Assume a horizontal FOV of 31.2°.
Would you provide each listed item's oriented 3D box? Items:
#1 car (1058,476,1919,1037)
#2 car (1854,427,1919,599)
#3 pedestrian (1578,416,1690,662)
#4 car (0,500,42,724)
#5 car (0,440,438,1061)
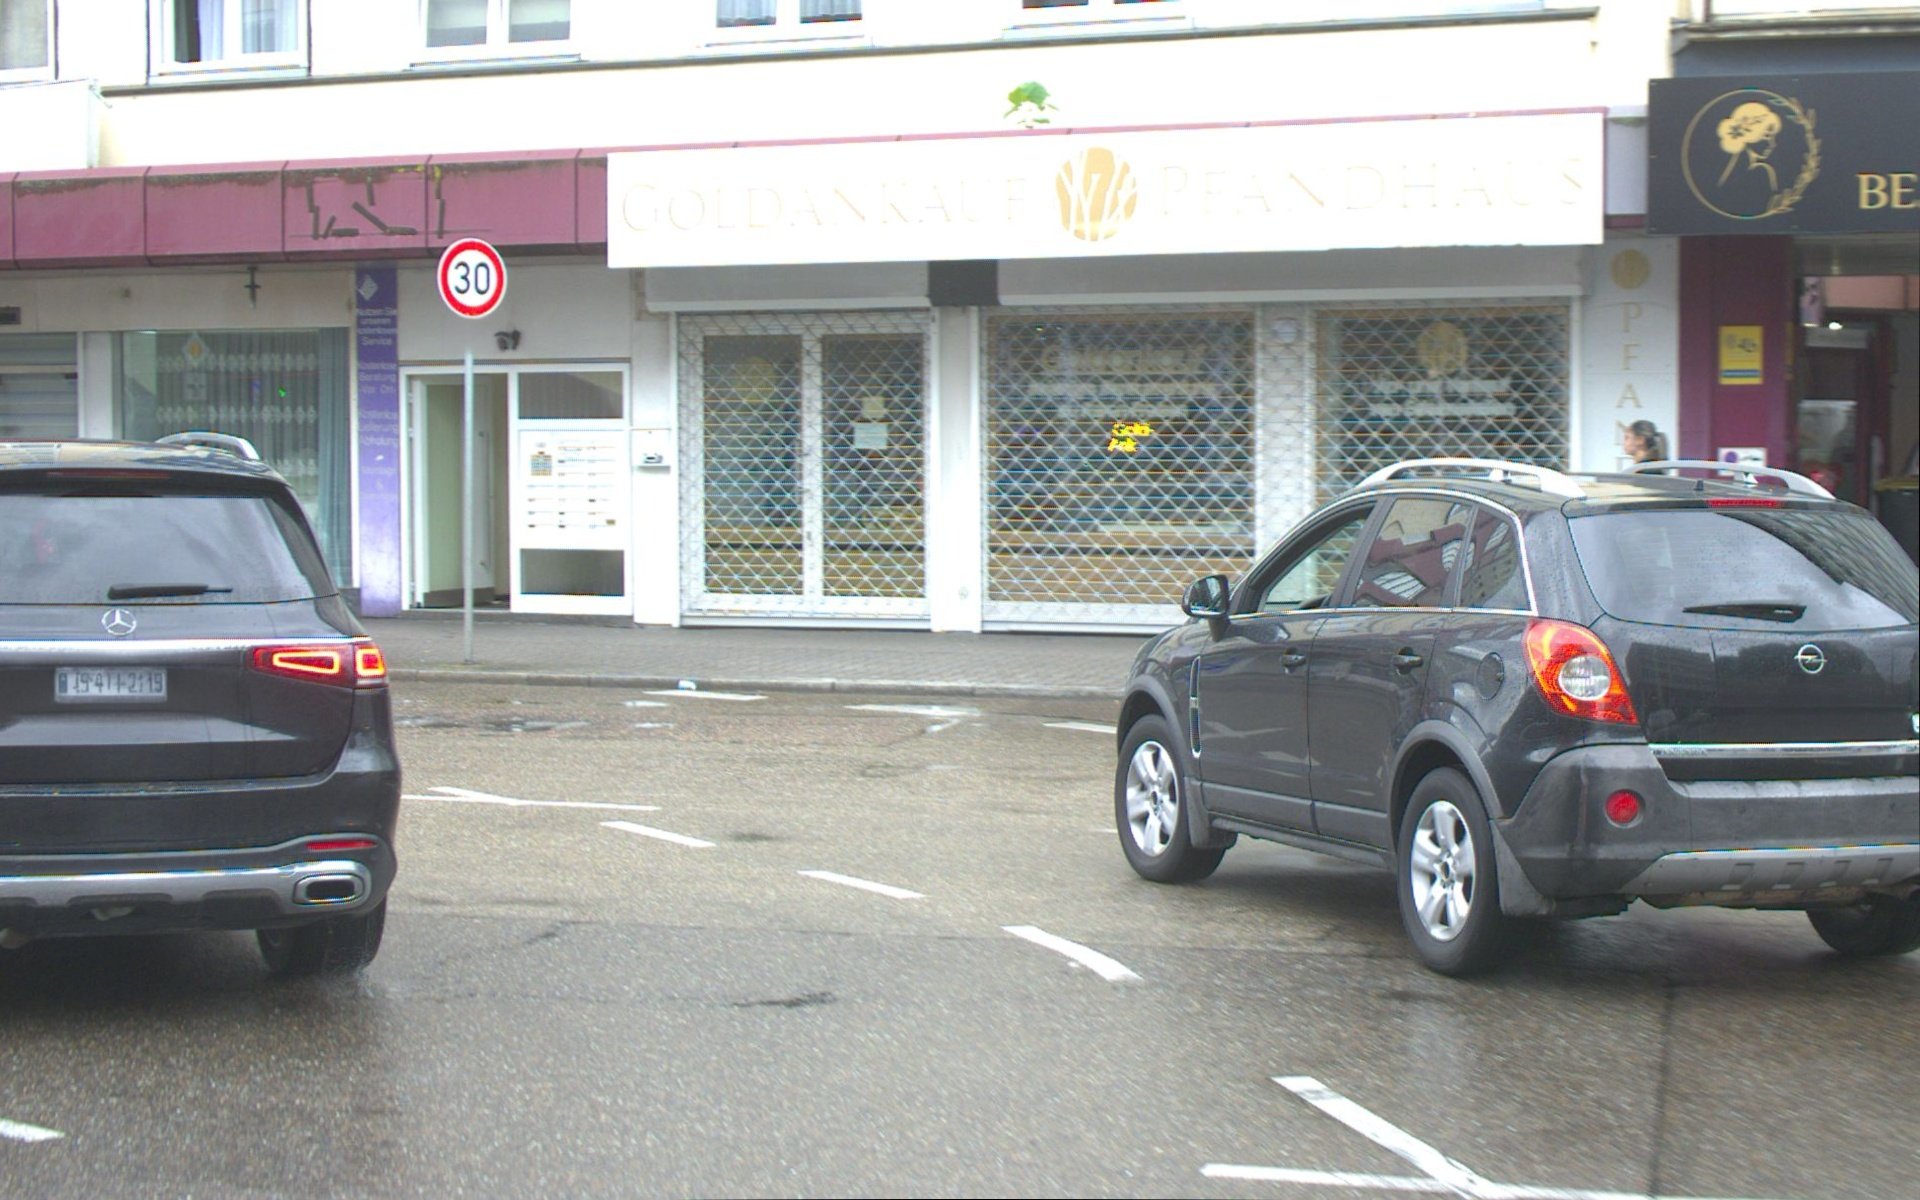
[{"bbox_3d":[2.017,0.397,12.987,1.897,1.689,4.507,-1,3,-18],"label":"car"},{"bbox_3d":[10.176,-0.865,35.178,1.798,1.664,3.998,0,1,12],"label":"car"},{"bbox_3d":[4.766,-0.441,24.308,0.753,1.683,0.565,0,7,12],"label":"pedestrian"},{"bbox_3d":[-7.755,0.078,22.529,1.767,1.392,3.998,-1,1,-41],"label":"car"},{"bbox_3d":[-3.442,0.343,12.145,2.038,1.792,4.664,0,2,-23],"label":"car"}]
